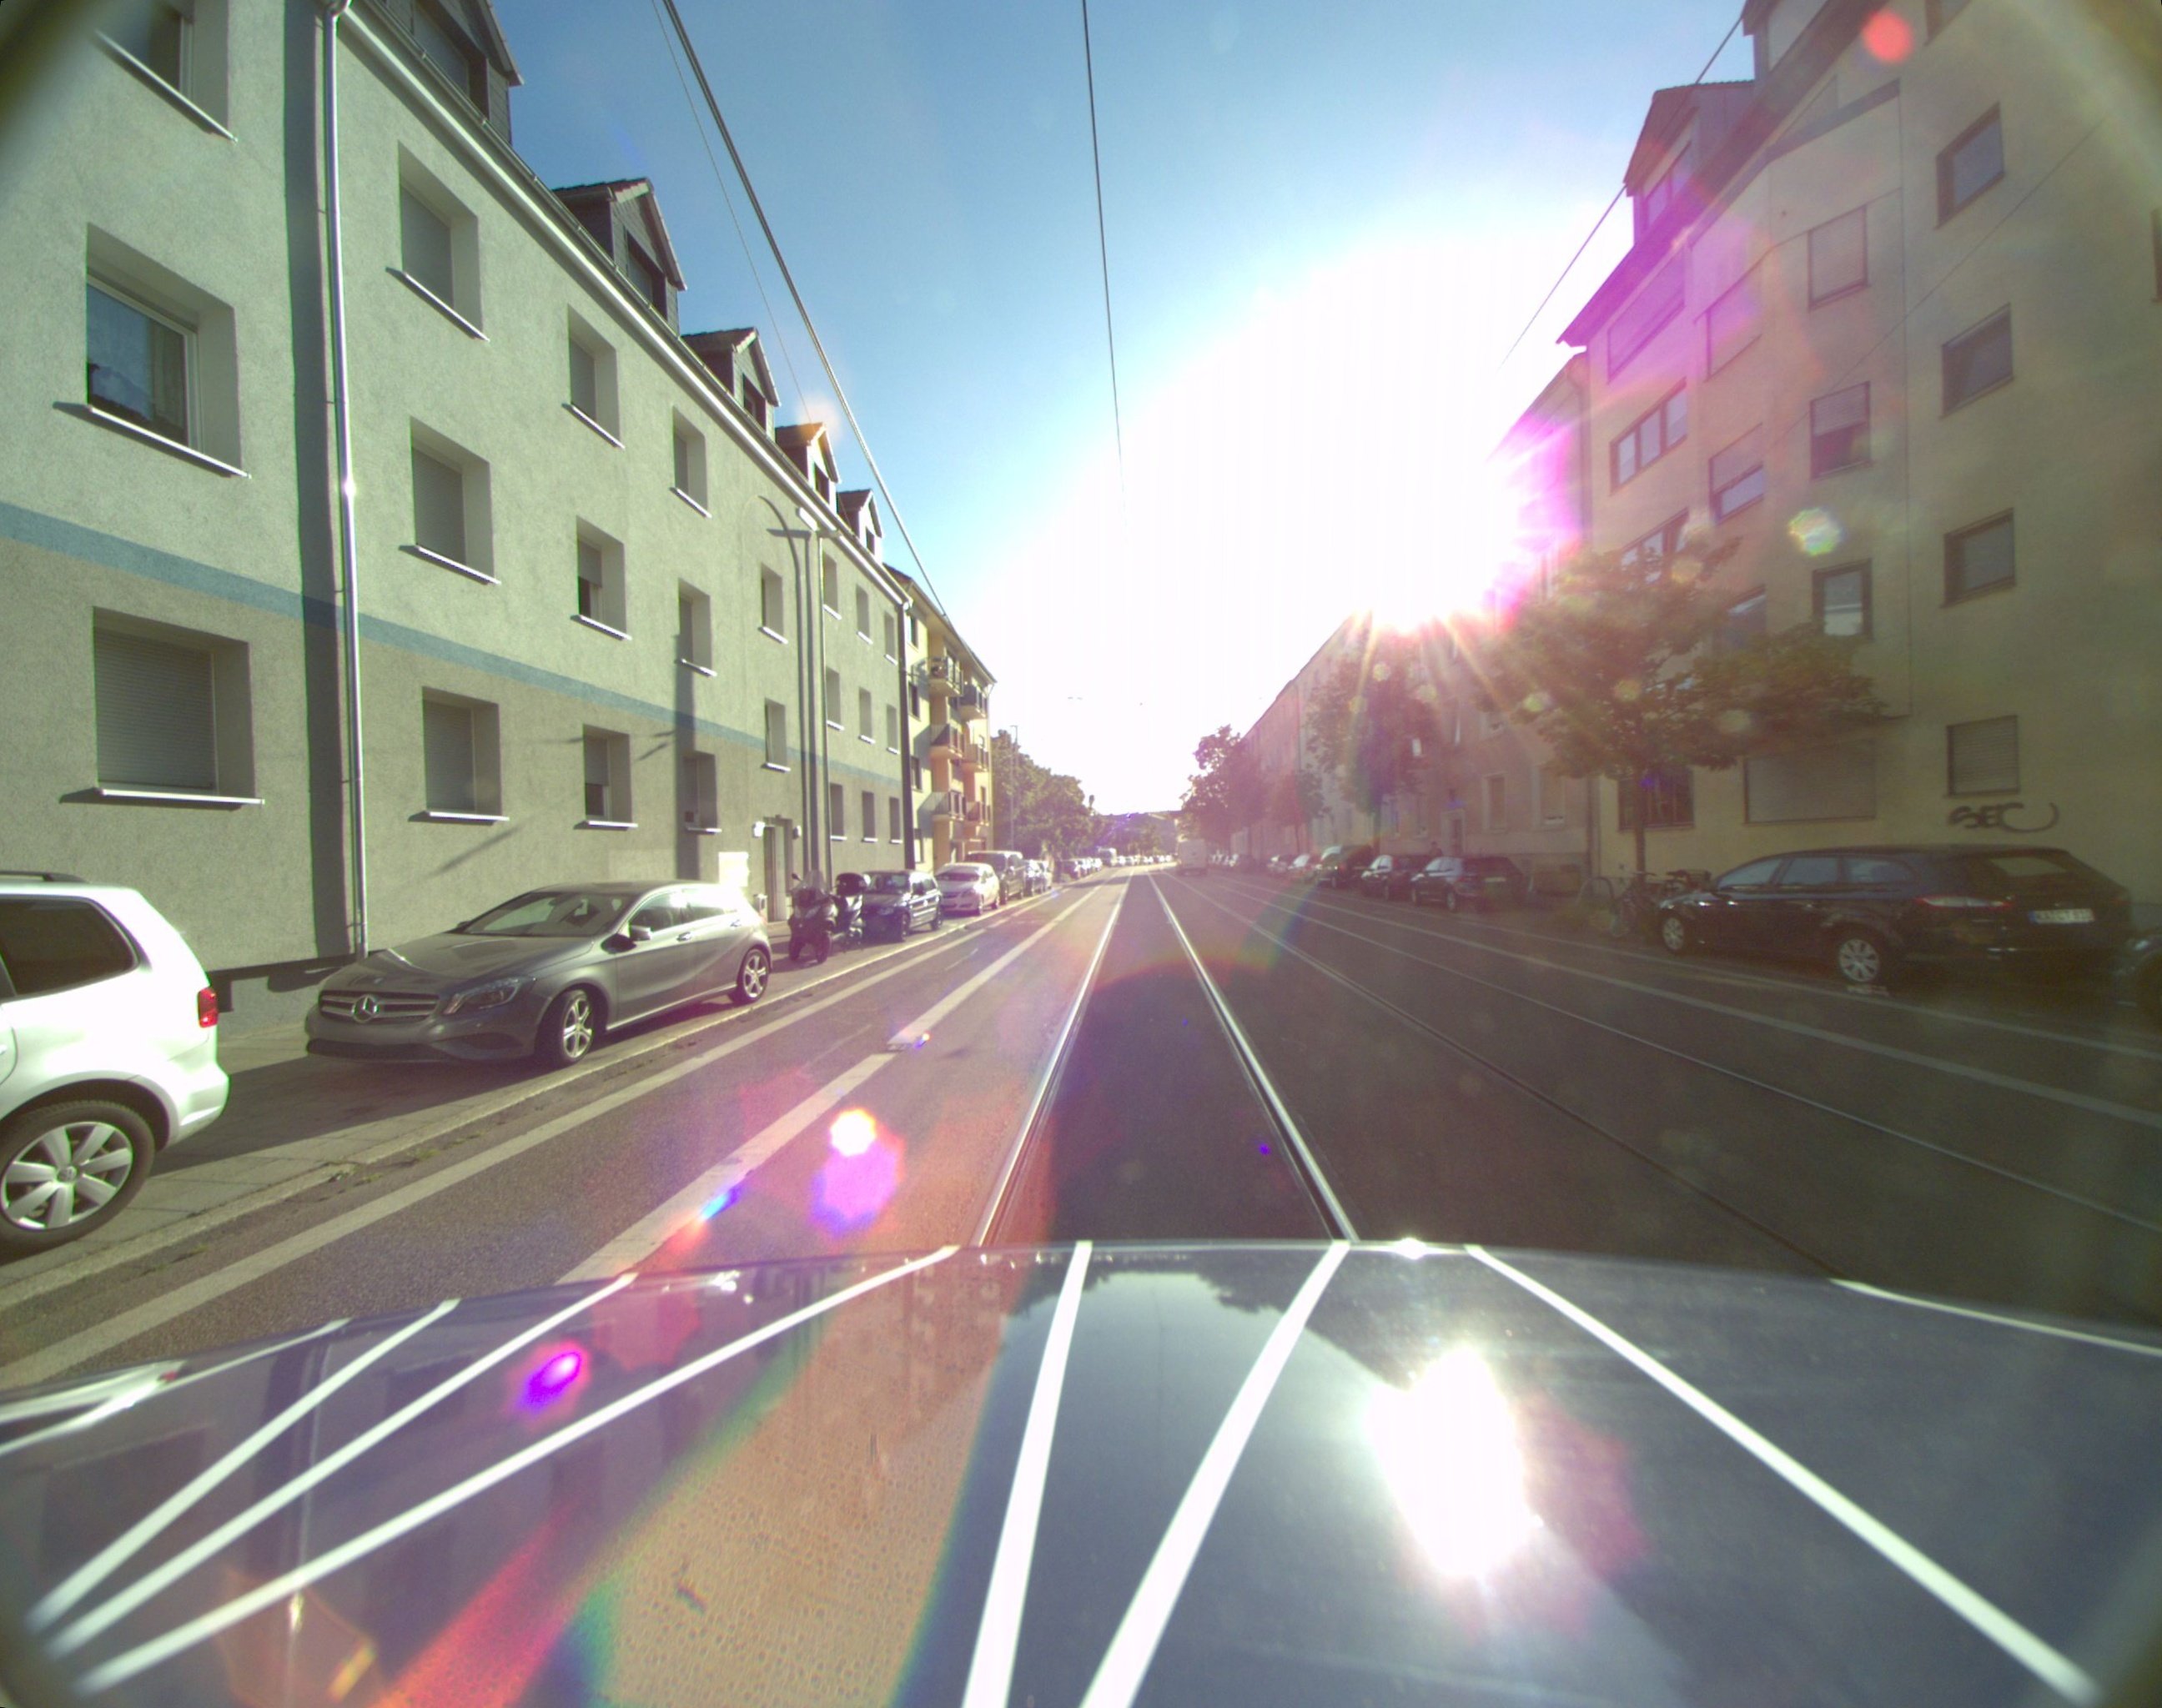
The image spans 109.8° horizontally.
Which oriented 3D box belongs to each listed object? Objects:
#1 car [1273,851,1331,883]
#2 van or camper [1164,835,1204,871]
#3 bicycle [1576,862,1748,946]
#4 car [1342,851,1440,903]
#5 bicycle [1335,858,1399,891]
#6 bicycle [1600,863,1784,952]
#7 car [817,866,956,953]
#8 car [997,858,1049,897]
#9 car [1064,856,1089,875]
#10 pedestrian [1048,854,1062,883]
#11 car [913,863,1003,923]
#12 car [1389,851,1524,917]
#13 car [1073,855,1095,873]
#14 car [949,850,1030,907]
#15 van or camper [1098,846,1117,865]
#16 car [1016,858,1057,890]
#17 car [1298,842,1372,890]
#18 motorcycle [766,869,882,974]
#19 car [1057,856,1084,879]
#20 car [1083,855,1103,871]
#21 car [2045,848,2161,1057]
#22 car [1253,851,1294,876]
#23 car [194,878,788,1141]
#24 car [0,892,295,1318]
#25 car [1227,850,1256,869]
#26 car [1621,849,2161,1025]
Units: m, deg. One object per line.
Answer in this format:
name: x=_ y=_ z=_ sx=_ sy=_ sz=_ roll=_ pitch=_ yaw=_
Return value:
car: x=11.107 y=0.625 z=38.544 sx=1.769 sy=1.464 sz=4.859 roll=-2 pitch=0 yaw=3
van or camper: x=7.890 y=-0.058 z=58.952 sx=2.375 sy=2.538 sz=6.835 roll=-2 pitch=0 yaw=2
bicycle: x=9.861 y=0.842 z=12.955 sx=2.297 sy=1.326 sz=0.700 roll=-2 pitch=1 yaw=4
car: x=10.236 y=0.688 z=25.401 sx=1.769 sy=1.464 sz=4.182 roll=-4 pitch=0 yaw=5
bicycle: x=10.937 y=0.774 z=29.096 sx=2.116 sy=1.099 sz=0.746 roll=-5 pitch=0 yaw=3
bicycle: x=9.797 y=0.850 z=12.248 sx=2.297 sy=1.326 sz=0.700 roll=-2 pitch=1 yaw=4
car: x=-4.003 y=1.088 z=16.312 sx=1.612 sy=1.562 sz=3.905 roll=0 pitch=0 yaw=6
car: x=-2.474 y=0.971 z=33.377 sx=1.612 sy=1.562 sz=4.220 roll=0 pitch=0 yaw=5
car: x=-0.376 y=0.963 z=66.563 sx=1.828 sy=1.562 sz=4.479 roll=0 pitch=0 yaw=4
pedestrian: x=-1.636 y=0.916 z=47.883 sx=0.800 sy=1.800 sz=0.946 roll=0 pitch=1 yaw=5
car: x=-3.586 y=1.098 z=22.784 sx=1.804 sy=1.562 sz=3.905 roll=0 pitch=0 yaw=4
car: x=9.948 y=0.723 z=20.510 sx=1.769 sy=1.464 sz=4.042 roll=-4 pitch=0 yaw=4
car: x=0.335 y=0.934 z=71.715 sx=1.828 sy=1.562 sz=4.479 roll=0 pitch=0 yaw=4
car: x=-3.292 y=0.824 z=28.317 sx=1.933 sy=1.910 sz=5.006 roll=0 pitch=0 yaw=6
van or camper: x=3.760 y=0.173 z=107.704 sx=2.089 sy=2.548 sz=5.695 roll=-2 pitch=1 yaw=6
car: x=-2.196 y=0.968 z=38.330 sx=1.556 sy=1.533 sz=3.633 roll=0 pitch=0 yaw=5
car: x=10.924 y=0.483 z=32.996 sx=1.769 sy=1.835 sz=4.424 roll=-4 pitch=0 yaw=2
motorcycle: x=-4.238 y=1.049 z=12.825 sx=0.807 sy=1.513 sz=2.709 roll=-1 pitch=0 yaw=5
car: x=-0.745 y=0.973 z=56.658 sx=1.612 sy=1.562 sz=4.480 roll=0 pitch=0 yaw=5
car: x=1.245 y=0.885 z=76.997 sx=1.828 sy=1.562 sz=4.479 roll=0 pitch=0 yaw=4
car: x=8.923 y=0.724 z=4.268 sx=1.740 sy=1.533 sz=4.128 roll=-2 pitch=0 yaw=-1
car: x=11.971 y=0.560 z=47.524 sx=1.769 sy=1.464 sz=4.754 roll=-2 pitch=0 yaw=5
car: x=-4.754 y=1.073 z=7.165 sx=1.867 sy=1.546 sz=4.368 roll=0 pitch=0 yaw=7
car: x=-5.274 y=1.046 z=1.873 sx=1.759 sy=1.656 sz=4.626 roll=0 pitch=0 yaw=2
car: x=13.847 y=0.455 z=65.593 sx=1.688 sy=1.614 sz=4.048 roll=-2 pitch=0 yaw=1
car: x=8.968 y=0.745 z=9.187 sx=1.769 sy=1.533 sz=4.735 roll=-2 pitch=0 yaw=5
